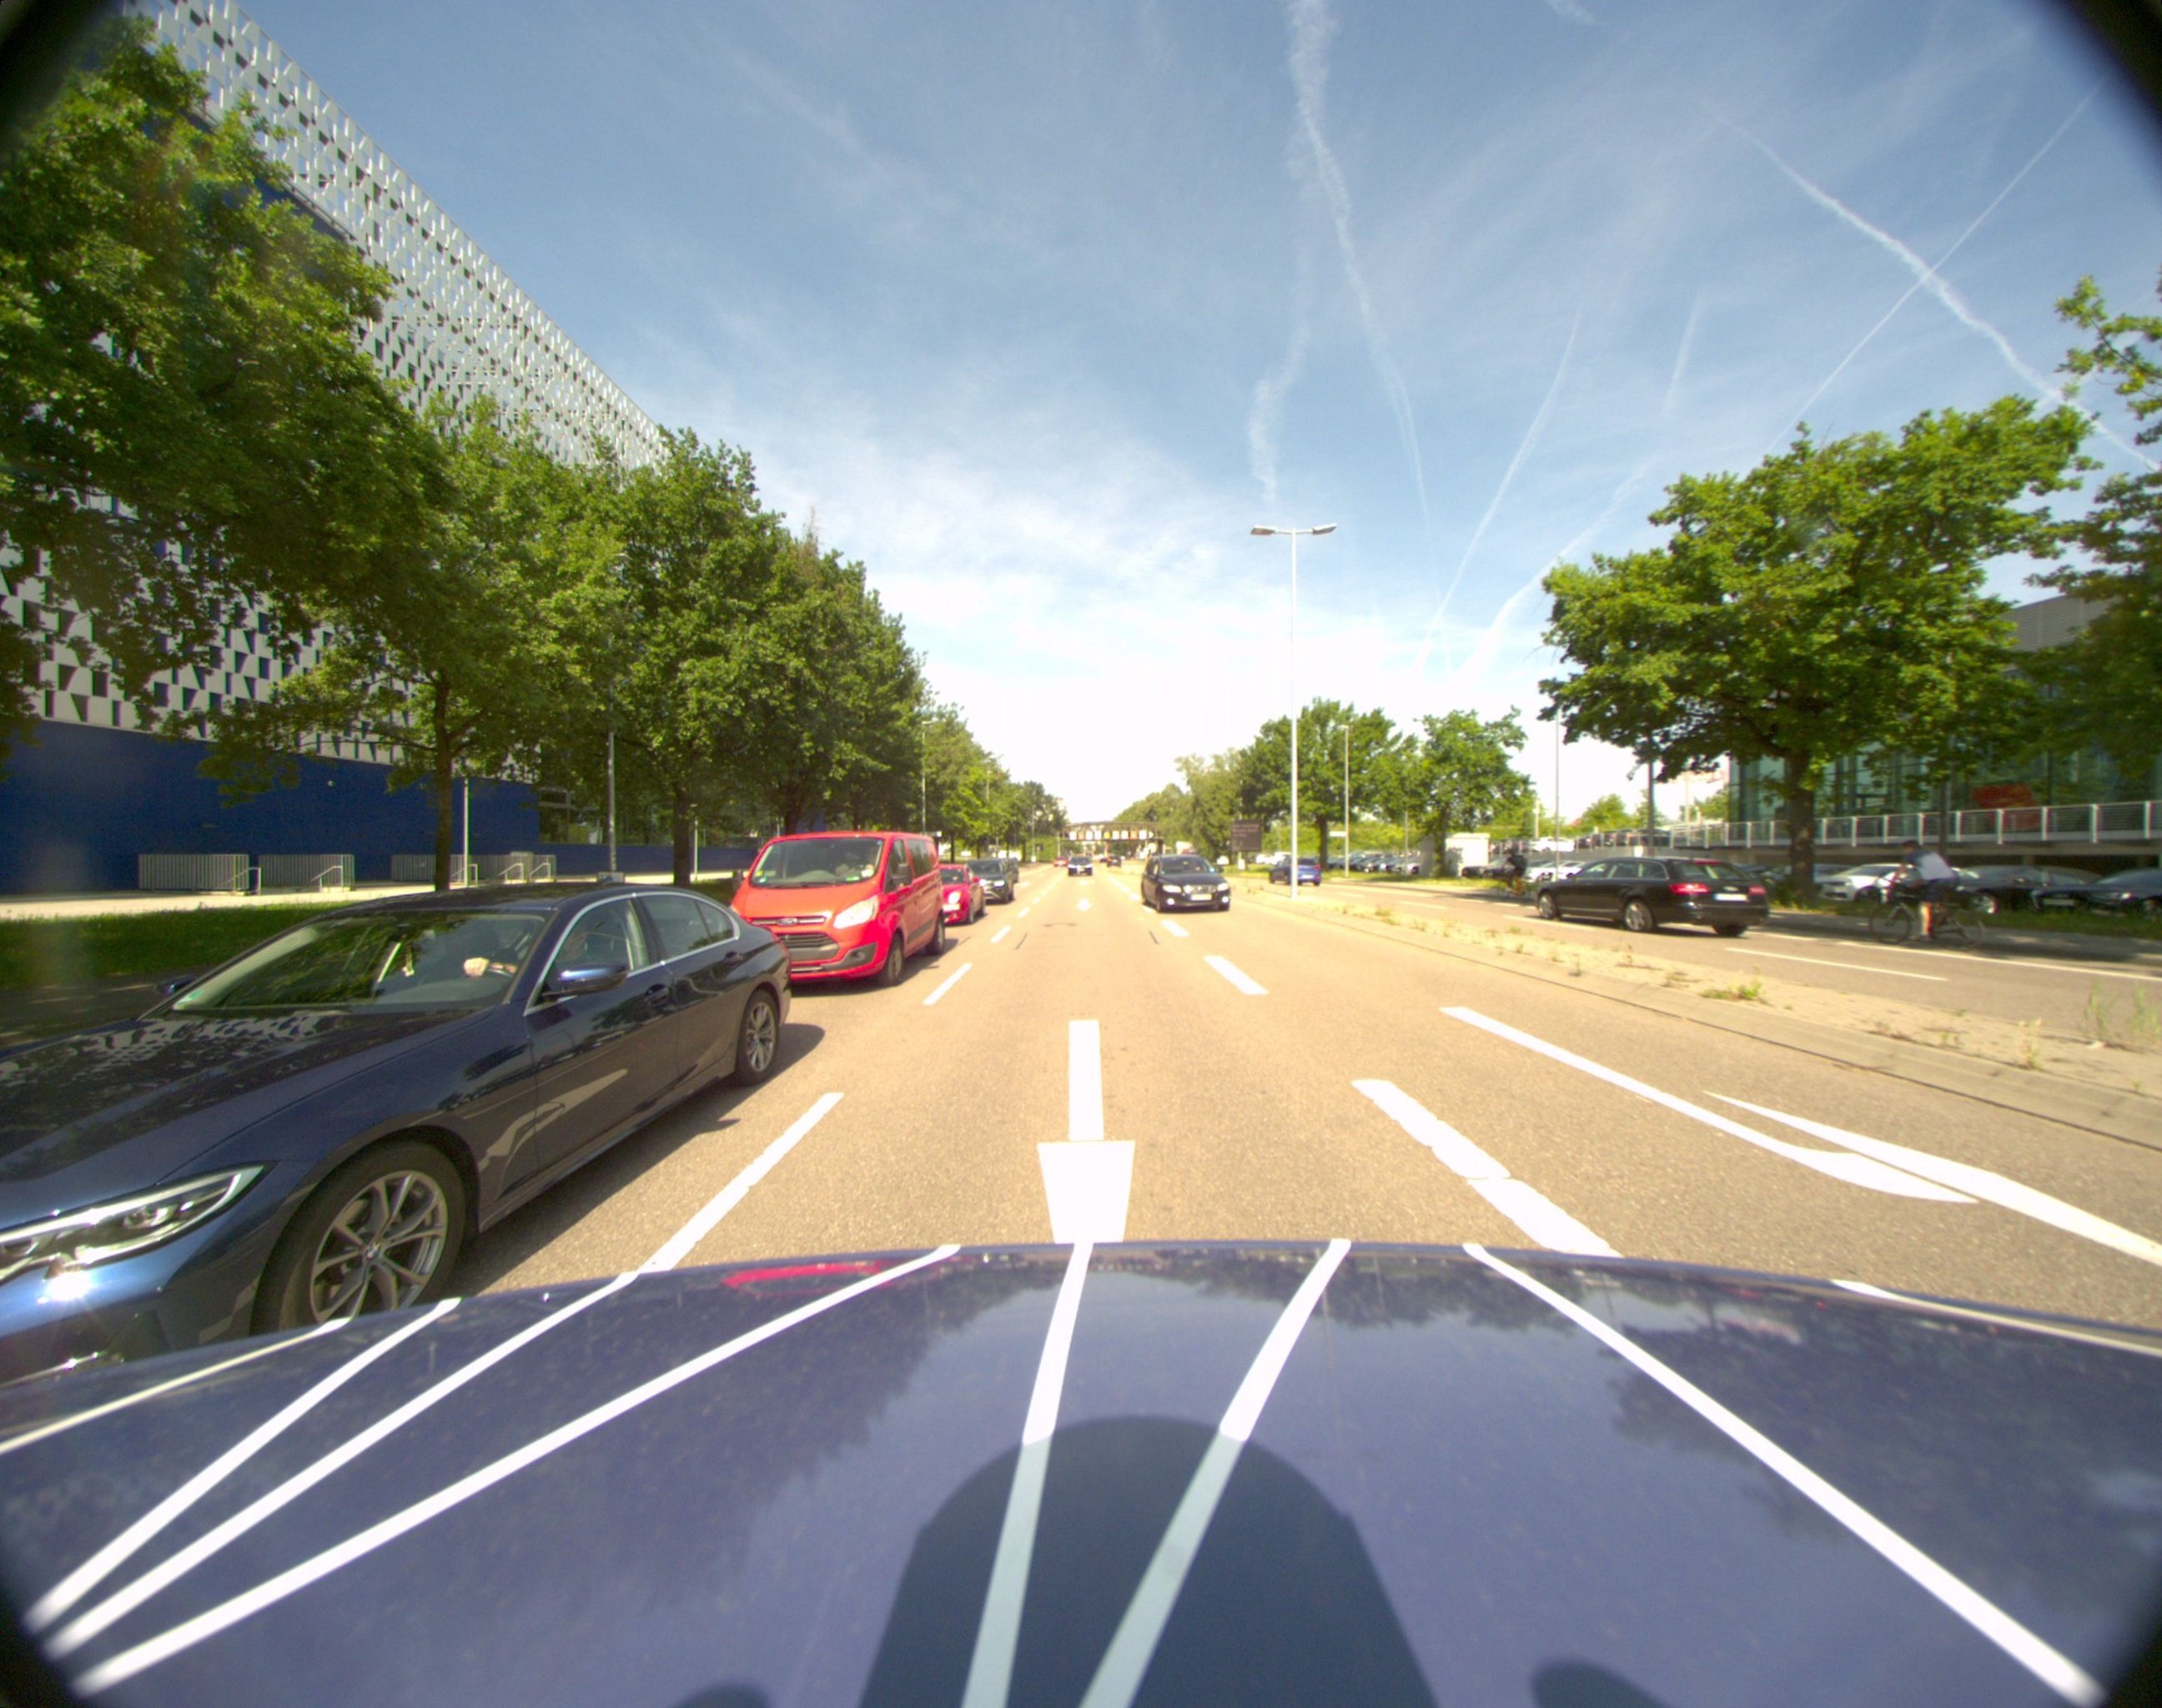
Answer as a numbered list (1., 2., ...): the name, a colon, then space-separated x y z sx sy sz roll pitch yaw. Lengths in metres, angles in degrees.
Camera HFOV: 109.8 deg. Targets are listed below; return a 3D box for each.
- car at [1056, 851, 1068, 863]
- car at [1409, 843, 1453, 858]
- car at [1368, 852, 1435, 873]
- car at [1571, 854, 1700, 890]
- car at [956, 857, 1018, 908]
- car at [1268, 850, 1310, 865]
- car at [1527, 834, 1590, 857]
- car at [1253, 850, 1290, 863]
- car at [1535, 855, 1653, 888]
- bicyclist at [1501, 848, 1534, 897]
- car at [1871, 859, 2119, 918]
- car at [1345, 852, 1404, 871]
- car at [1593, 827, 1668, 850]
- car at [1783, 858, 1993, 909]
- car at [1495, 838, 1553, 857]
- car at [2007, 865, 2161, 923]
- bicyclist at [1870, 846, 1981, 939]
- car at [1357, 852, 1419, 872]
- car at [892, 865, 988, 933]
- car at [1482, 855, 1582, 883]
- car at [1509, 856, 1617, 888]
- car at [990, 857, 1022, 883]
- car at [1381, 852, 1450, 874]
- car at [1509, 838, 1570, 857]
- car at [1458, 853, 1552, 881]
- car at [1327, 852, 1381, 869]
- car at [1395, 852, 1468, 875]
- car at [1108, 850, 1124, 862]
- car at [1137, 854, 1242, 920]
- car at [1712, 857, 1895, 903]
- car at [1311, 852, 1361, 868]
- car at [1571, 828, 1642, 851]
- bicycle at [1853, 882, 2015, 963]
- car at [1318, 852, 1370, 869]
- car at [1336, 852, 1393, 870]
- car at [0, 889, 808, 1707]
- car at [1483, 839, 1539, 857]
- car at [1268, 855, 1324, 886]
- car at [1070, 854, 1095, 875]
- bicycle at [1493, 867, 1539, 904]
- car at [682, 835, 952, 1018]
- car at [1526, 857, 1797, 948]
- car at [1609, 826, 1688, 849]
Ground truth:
1. car: -2.670 0.364 107.002 1.649 1.530 3.999 -3 0 -1
2. car: 40.113 -0.418 87.105 4.196 1.490 1.690 3 0 1
3. car: 23.980 0.627 56.915 4.196 1.315 1.690 3 0 1
4. car: 23.532 0.764 32.357 4.196 1.291 1.690 3 0 1
5. car: -3.185 0.939 26.425 1.649 1.530 3.999 -3 0 -1
6. car: 23.618 0.338 86.433 4.196 1.490 1.690 3 0 1
7. car: 40.092 -0.718 63.863 4.196 1.722 1.690 3 1 1
8. car: 23.587 0.281 94.218 4.196 1.371 1.690 3 0 1
9. car: 23.598 0.796 35.045 4.196 1.248 1.690 3 0 1
10. bicyclist: 14.463 0.607 25.200 0.578 1.587 0.910 1 1 3
11. car: 23.374 0.852 19.548 4.196 1.239 1.690 3 0 1
12. car: 24.074 0.611 62.388 4.196 1.315 1.690 3 0 1
13. car: 40.430 -1.129 55.938 4.196 1.490 1.690 3 0 1
14. car: 23.286 0.831 22.045 4.196 1.188 1.690 3 0 1
15. car: 40.106 -0.576 68.857 4.196 1.490 1.690 3 0 1
16. car: 23.546 0.917 16.689 4.196 1.116 1.719 3 0 1
17. bicyclist: 13.931 0.606 12.568 0.571 1.474 1.143 0 1 3
18. car: 24.128 0.636 59.810 4.196 1.315 1.690 3 0 1
19. car: -3.371 1.018 18.815 1.692 1.414 3.915 -1 0 -1
20. car: 23.710 0.760 40.049 4.196 1.239 1.690 3 0 1
21. car: 23.686 0.879 37.451 4.196 1.317 1.690 3 0 1
22. car: -4.506 0.953 46.121 1.649 1.453 3.999 -2 0 -2
23. car: 24.033 0.642 54.700 4.196 1.315 1.690 3 0 1
24. car: 40.106 -0.581 66.523 4.196 1.490 1.690 3 0 1
25. car: 23.672 0.711 42.518 4.196 1.315 1.690 3 0 1
26. car: 24.401 0.560 67.933 4.196 1.315 1.690 3 0 1
27. car: 24.009 0.635 52.154 4.196 1.315 1.690 3 0 1
28. car: 4.460 0.272 97.853 1.866 1.503 4.000 0 0 1
29. car: 2.789 0.791 20.732 1.883 1.513 4.867 -2 0 -3
30. car: 23.183 0.814 24.500 4.196 1.198 1.690 3 0 1
31. car: 24.561 0.537 73.156 4.196 1.315 1.690 3 0 1
32. car: 40.541 -1.110 58.671 4.196 1.490 1.690 3 0 1
33. bicycle: 13.926 1.078 12.502 0.572 1.143 1.925 0 0 3
34. car: 24.400 0.570 70.470 4.196 1.315 1.690 3 0 1
35. car: 24.171 0.581 64.919 4.196 1.315 1.690 3 0 1
36. car: -3.069 1.025 3.706 1.800 1.420 4.537 -2 0 0
37. car: 40.201 -0.545 71.147 4.196 1.490 1.690 3 0 1
38. car: 11.144 0.825 39.712 1.732 1.430 3.869 2 0 -1
39. car: 0.111 0.778 59.327 1.848 1.530 3.999 0 0 -1
40. bicycle: 14.467 1.034 25.331 0.572 1.143 1.770 1 0 3
41. car: -3.227 0.768 10.533 2.014 1.896 4.809 -2 0 0
42. car: 11.246 0.843 15.270 1.851 1.451 4.664 2 0 0
43. car: 39.753 -1.132 53.315 4.196 1.397 1.690 3 0 1
